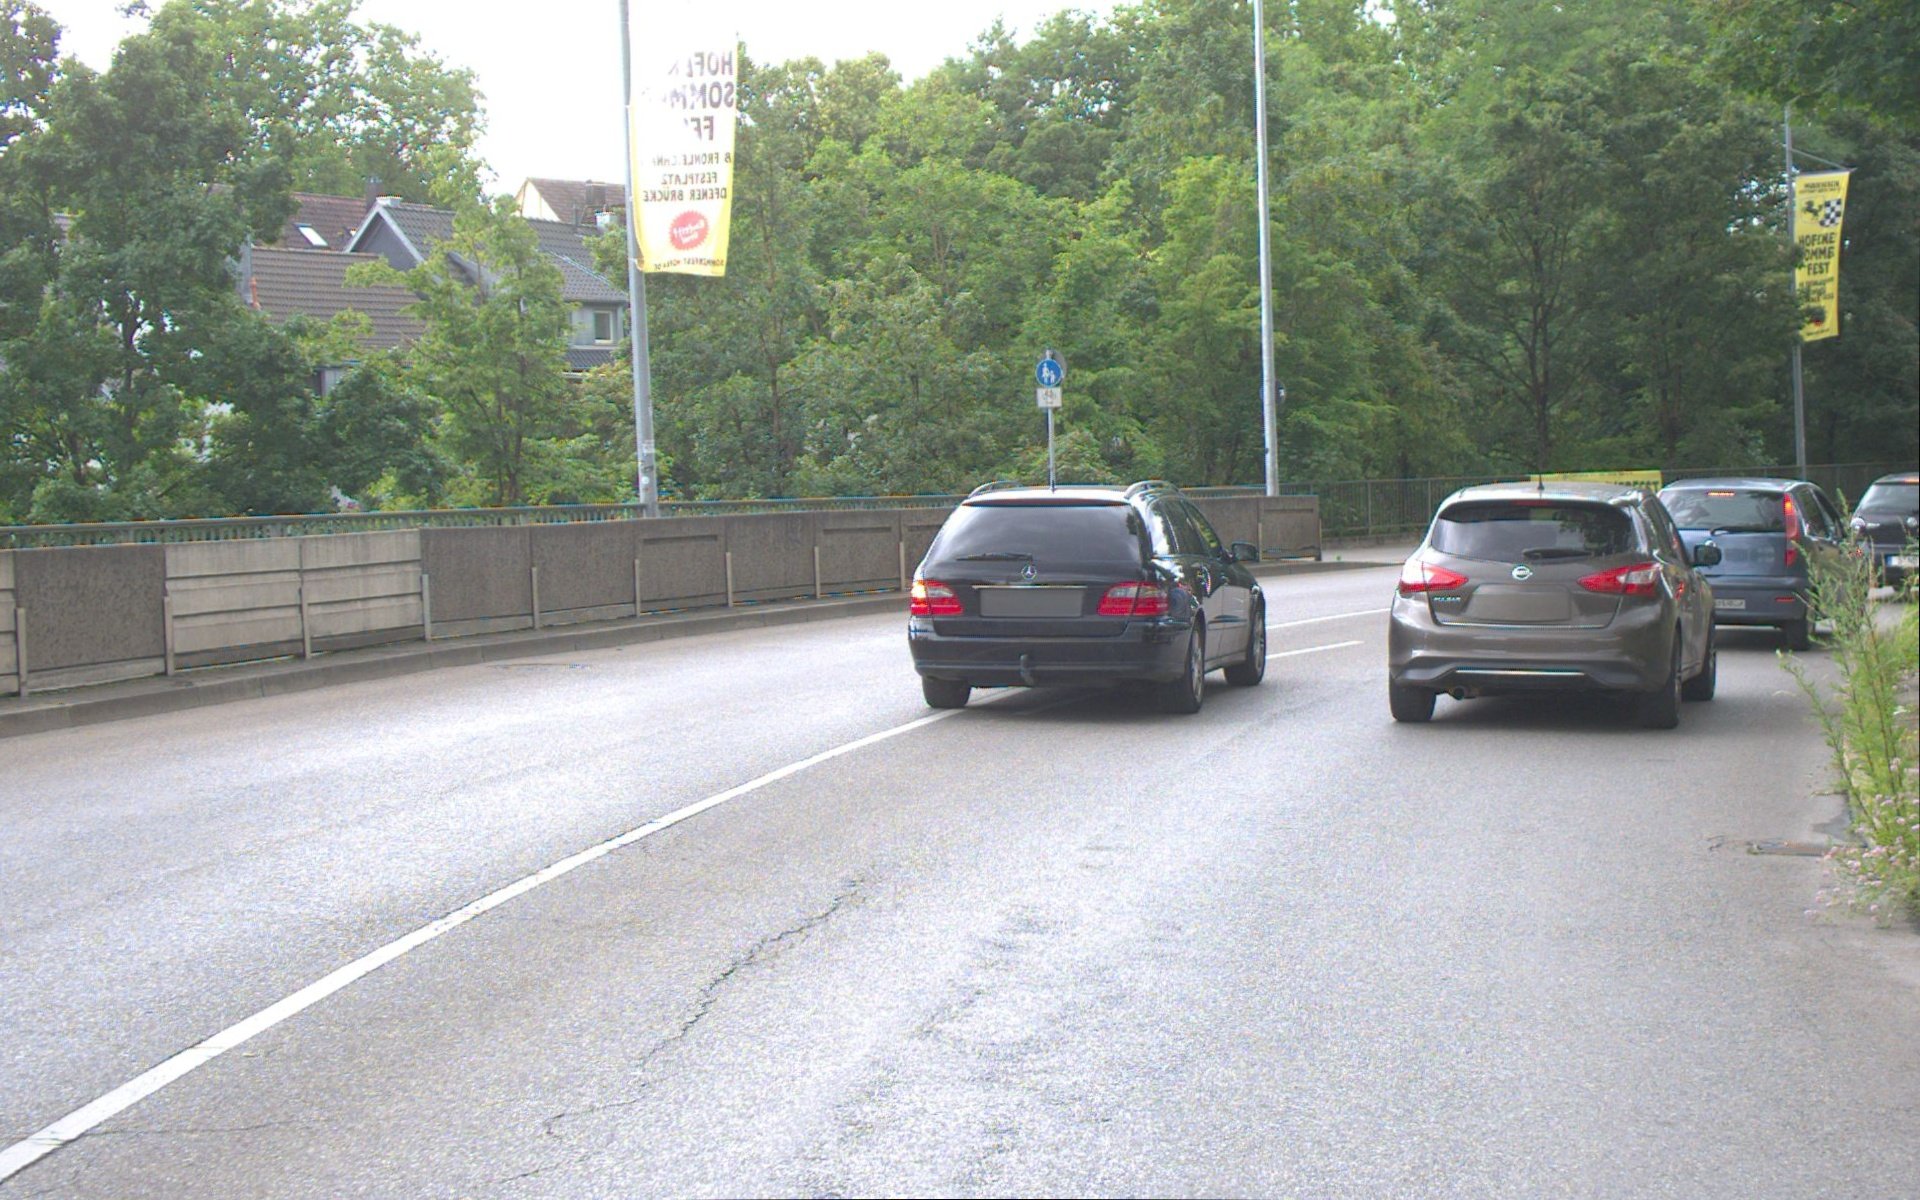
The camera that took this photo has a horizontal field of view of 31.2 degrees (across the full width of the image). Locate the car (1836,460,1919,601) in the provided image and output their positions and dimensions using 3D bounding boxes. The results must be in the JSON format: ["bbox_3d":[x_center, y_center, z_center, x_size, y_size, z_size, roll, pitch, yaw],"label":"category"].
[{"bbox_3d":[11.080,-0.821,39.516,1.579,1.533,3.996,-1,1,20],"label":"car"}]

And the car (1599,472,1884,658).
[{"bbox_3d":[7.160,-0.344,31.241,1.895,1.568,3.996,0,1,22],"label":"car"}]

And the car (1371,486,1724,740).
[{"bbox_3d":[3.936,0.019,22.547,1.776,1.489,3.997,1,2,17],"label":"car"}]

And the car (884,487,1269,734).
[{"bbox_3d":[0.899,-0.010,23.311,1.852,1.481,4.419,1,2,12],"label":"car"}]
